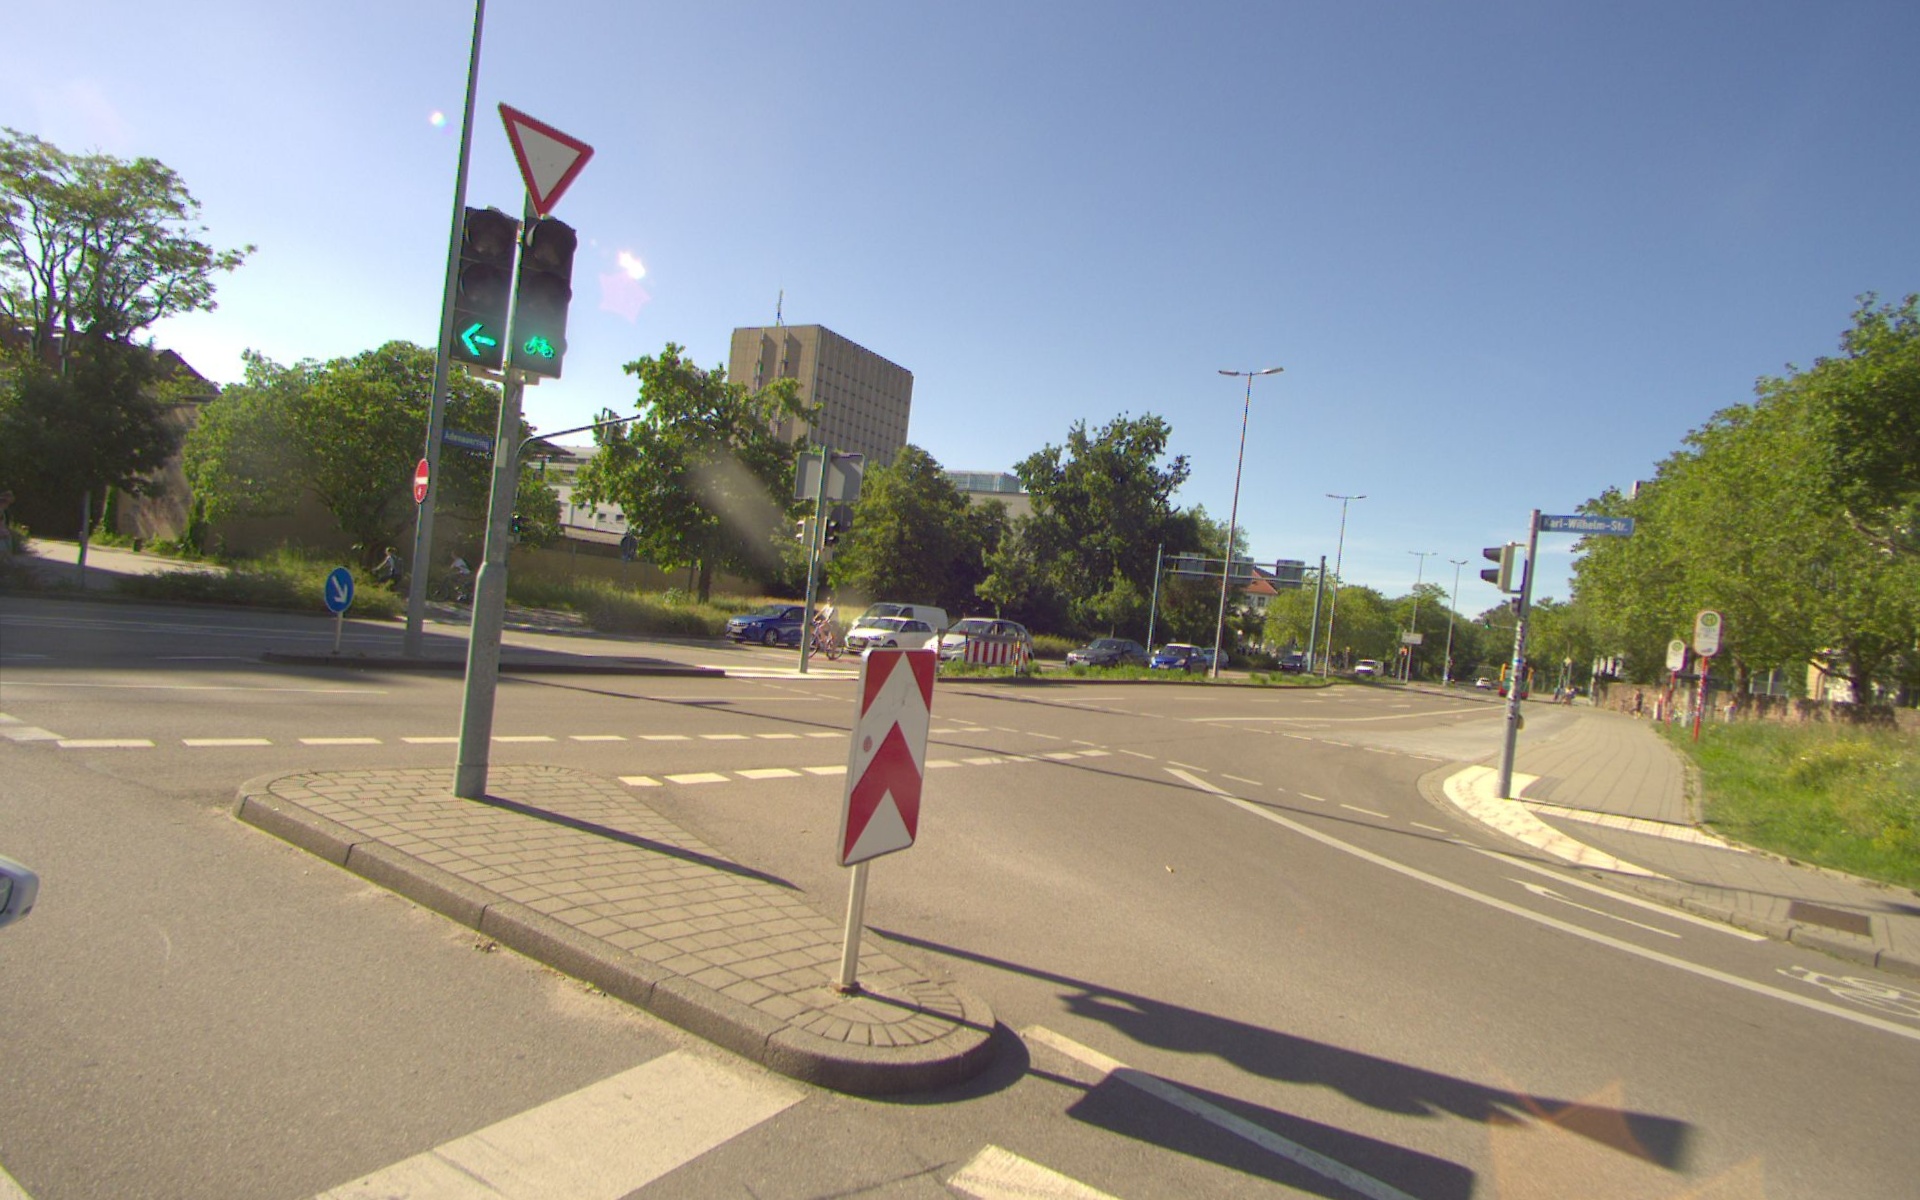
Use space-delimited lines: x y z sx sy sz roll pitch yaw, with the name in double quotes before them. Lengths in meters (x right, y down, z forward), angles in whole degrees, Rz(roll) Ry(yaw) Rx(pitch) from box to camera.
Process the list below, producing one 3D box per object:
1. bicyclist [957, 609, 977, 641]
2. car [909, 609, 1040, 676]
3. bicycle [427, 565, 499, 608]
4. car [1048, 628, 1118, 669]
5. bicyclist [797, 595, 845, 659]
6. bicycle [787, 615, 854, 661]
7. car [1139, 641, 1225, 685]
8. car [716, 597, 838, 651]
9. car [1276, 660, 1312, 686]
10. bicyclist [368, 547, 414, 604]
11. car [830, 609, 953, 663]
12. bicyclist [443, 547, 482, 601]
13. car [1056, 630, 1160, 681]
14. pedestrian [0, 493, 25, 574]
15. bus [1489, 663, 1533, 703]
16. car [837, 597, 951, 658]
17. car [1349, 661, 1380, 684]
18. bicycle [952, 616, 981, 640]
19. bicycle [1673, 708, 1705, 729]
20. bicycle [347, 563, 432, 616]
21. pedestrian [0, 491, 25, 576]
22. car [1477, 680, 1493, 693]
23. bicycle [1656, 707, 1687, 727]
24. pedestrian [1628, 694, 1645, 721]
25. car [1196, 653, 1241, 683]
"bicyclist" 0.368 1.392 55.631 0.632 1.665 0.775 7 0 29
"car" 0.527 1.328 30.353 1.761 1.644 4.305 5 -2 34
"bicycle" -16.398 -0.444 33.237 0.634 1.180 1.946 10 3 44
"car" 6.596 2.608 53.645 1.908 1.820 4.352 5 -2 32
"bicyclist" -3.901 0.778 28.343 0.734 1.707 0.975 7 2 32
"bicycle" -3.913 1.085 28.368 0.736 1.180 1.865 7 1 32
"car" 9.788 2.777 44.080 1.953 1.572 4.712 5 -2 34
"car" -6.178 0.859 34.337 1.678 1.459 3.990 5 -2 34
"car" 29.435 6.459 88.492 1.907 1.976 4.750 5 -2 30
"bicyclist" -15.640 -0.679 27.670 0.763 1.463 0.642 7 2 -4
"car" -2.294 1.264 34.722 1.971 1.486 3.984 6 -1 39
"bicyclist" -16.395 -0.853 33.152 0.623 1.616 0.828 11 4 43
"car" 5.644 2.116 37.853 1.953 1.572 4.712 5 -2 34
"pedestrian" -22.185 -1.553 23.191 0.731 1.802 0.723 9 -2 -42
"bus" 53.192 8.086 97.238 2.935 3.309 6.258 7 -3 25
"car" -2.554 1.139 40.046 1.909 1.976 4.745 5 -2 34
"car" 40.076 7.150 99.562 1.908 1.976 4.522 5 -2 33
"bicycle" 0.358 1.580 55.665 0.632 1.179 1.867 7 0 29
"bicycle" 43.866 7.094 60.527 0.781 1.088 2.089 7 -3 15
"bicycle" -15.687 -0.289 27.687 1.837 1.180 0.642 8 2 -5
"pedestrian" -21.469 -1.503 22.397 0.731 1.837 0.723 9 -2 -42
"car" 78.066 12.846 149.566 1.666 1.611 3.591 5 -2 33
"bicycle" 44.417 7.281 62.803 0.781 1.088 2.089 7 -3 15
"pedestrian" 43.010 6.807 63.955 0.642 1.629 0.558 7 -2 29
"car" 18.205 4.777 70.684 1.816 1.851 4.383 5 -2 31
